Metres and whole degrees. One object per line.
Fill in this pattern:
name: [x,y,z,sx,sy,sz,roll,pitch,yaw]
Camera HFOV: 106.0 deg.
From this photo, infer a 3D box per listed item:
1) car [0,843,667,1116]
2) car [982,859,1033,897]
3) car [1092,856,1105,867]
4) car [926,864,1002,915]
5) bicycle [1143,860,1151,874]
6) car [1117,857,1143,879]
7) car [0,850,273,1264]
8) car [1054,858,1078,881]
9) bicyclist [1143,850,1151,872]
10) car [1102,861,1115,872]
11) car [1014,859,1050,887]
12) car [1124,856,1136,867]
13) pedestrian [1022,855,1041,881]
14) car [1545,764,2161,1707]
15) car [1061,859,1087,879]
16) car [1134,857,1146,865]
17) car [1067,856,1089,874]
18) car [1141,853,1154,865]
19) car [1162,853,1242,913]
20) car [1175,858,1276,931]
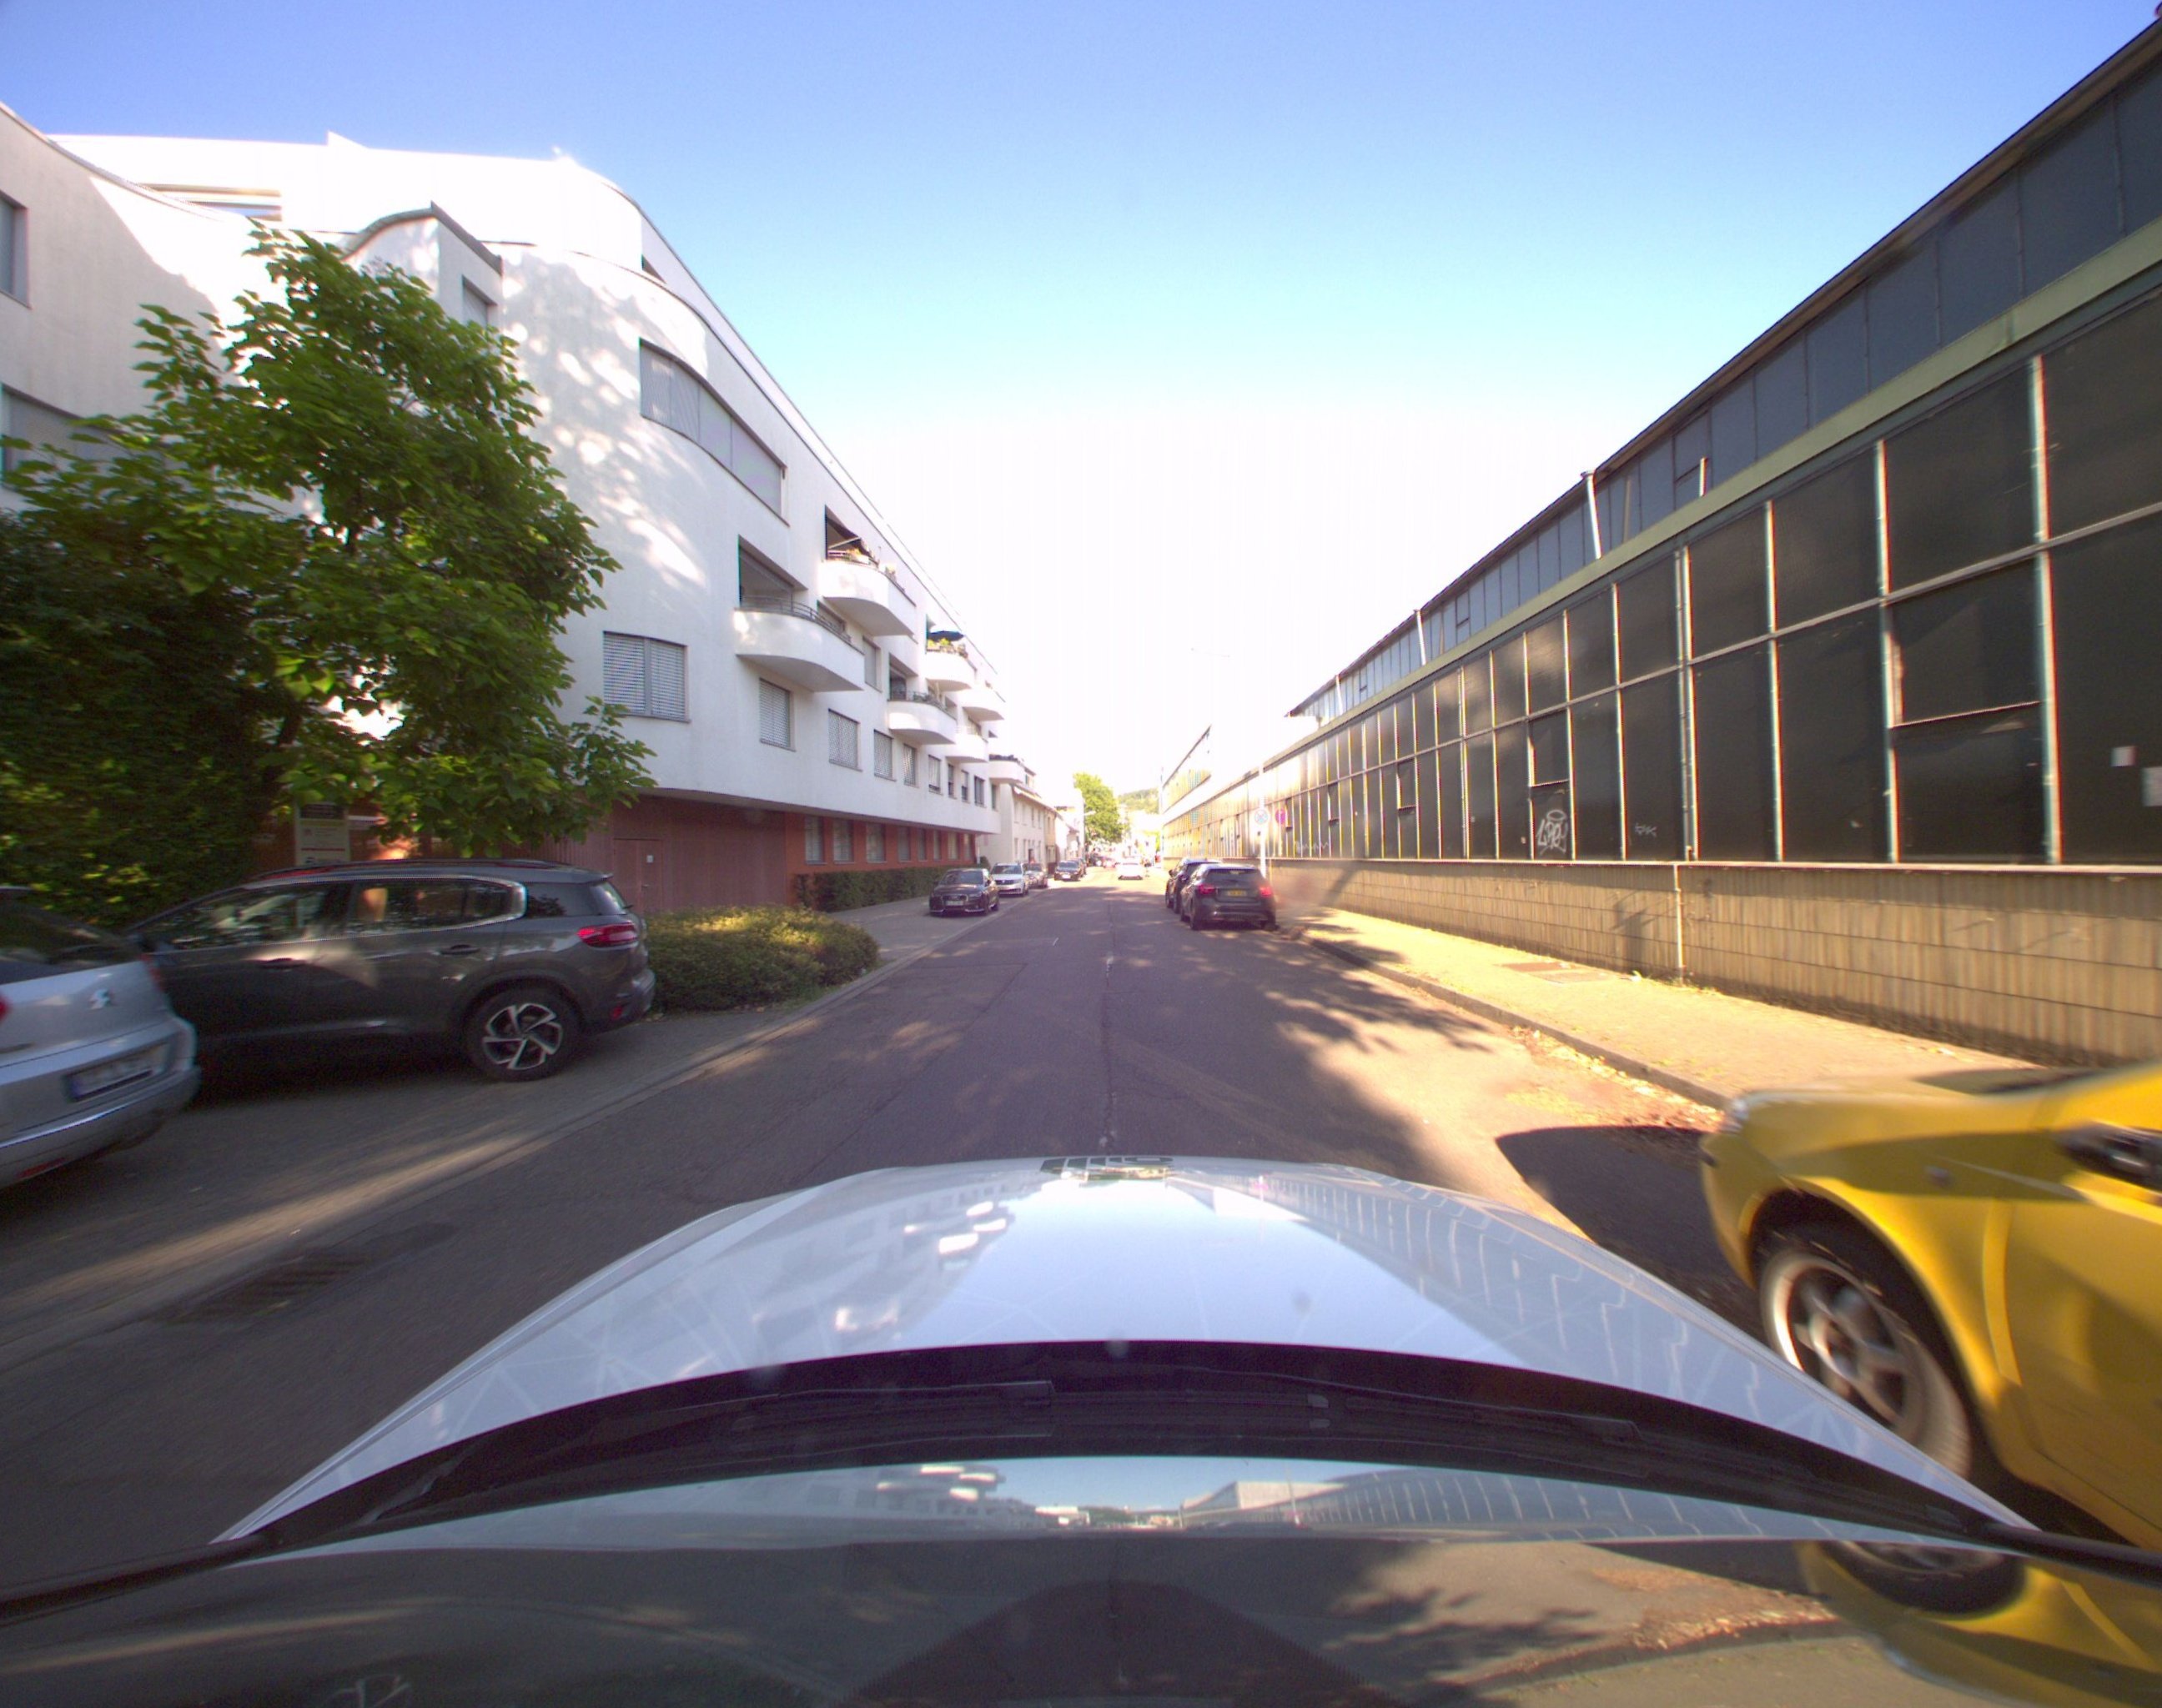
car: [-5.536,0.788,6.434,3.967,1.662,1.686,1,-1,-26]
car: [-3.293,1.062,37.257,1.852,1.587,4.620,1,-1,0]
car: [2.887,1.161,133.334,1.844,1.791,4.613,0,0,5]
car: [-3.557,1.054,25.356,1.668,1.433,3.771,1,-1,1]
bicycle: [5.475,1.107,67.562,0.695,1.130,2.405,0,-1,4]
car: [3.509,1.017,59.073,1.835,1.491,4.146,0,-1,2]
car: [-6.470,0.799,3.284,4.142,1.640,1.764,0,-1,-22]
car: [-1.053,1.121,59.591,1.679,1.535,4.333,1,-1,-1]
bicyclist: [5.479,0.585,67.646,0.695,1.790,1.042,0,-1,4]
car: [3.826,1.786,113.087,1.835,1.491,4.147,0,-1,3]
car: [-2.775,1.067,46.649,1.661,1.536,3.859,1,-1,2]
car: [7.776,1.145,129.750,1.846,1.791,4.608,0,0,1]
pedestrian: [-3.596,1.019,58.960,0.853,1.818,1.138,3,0,26]
car: [2.703,0.664,1.218,1.745,1.635,4.000,0,-1,0]
car: [-0.577,1.243,70.006,1.849,1.587,4.340,1,0,4]
car: [10.858,1.303,149.790,1.831,1.491,4.154,0,-1,9]
car: [-0.249,1.063,78.718,1.801,1.587,4.196,1,1,3]
car: [9.443,0.655,115.802,1.623,1.587,4.072,-3,-1,3]
car: [3.510,0.821,24.355,1.801,1.587,4.405,1,-1,1]
car: [3.264,0.868,19.172,1.743,1.491,4.624,1,-1,3]
